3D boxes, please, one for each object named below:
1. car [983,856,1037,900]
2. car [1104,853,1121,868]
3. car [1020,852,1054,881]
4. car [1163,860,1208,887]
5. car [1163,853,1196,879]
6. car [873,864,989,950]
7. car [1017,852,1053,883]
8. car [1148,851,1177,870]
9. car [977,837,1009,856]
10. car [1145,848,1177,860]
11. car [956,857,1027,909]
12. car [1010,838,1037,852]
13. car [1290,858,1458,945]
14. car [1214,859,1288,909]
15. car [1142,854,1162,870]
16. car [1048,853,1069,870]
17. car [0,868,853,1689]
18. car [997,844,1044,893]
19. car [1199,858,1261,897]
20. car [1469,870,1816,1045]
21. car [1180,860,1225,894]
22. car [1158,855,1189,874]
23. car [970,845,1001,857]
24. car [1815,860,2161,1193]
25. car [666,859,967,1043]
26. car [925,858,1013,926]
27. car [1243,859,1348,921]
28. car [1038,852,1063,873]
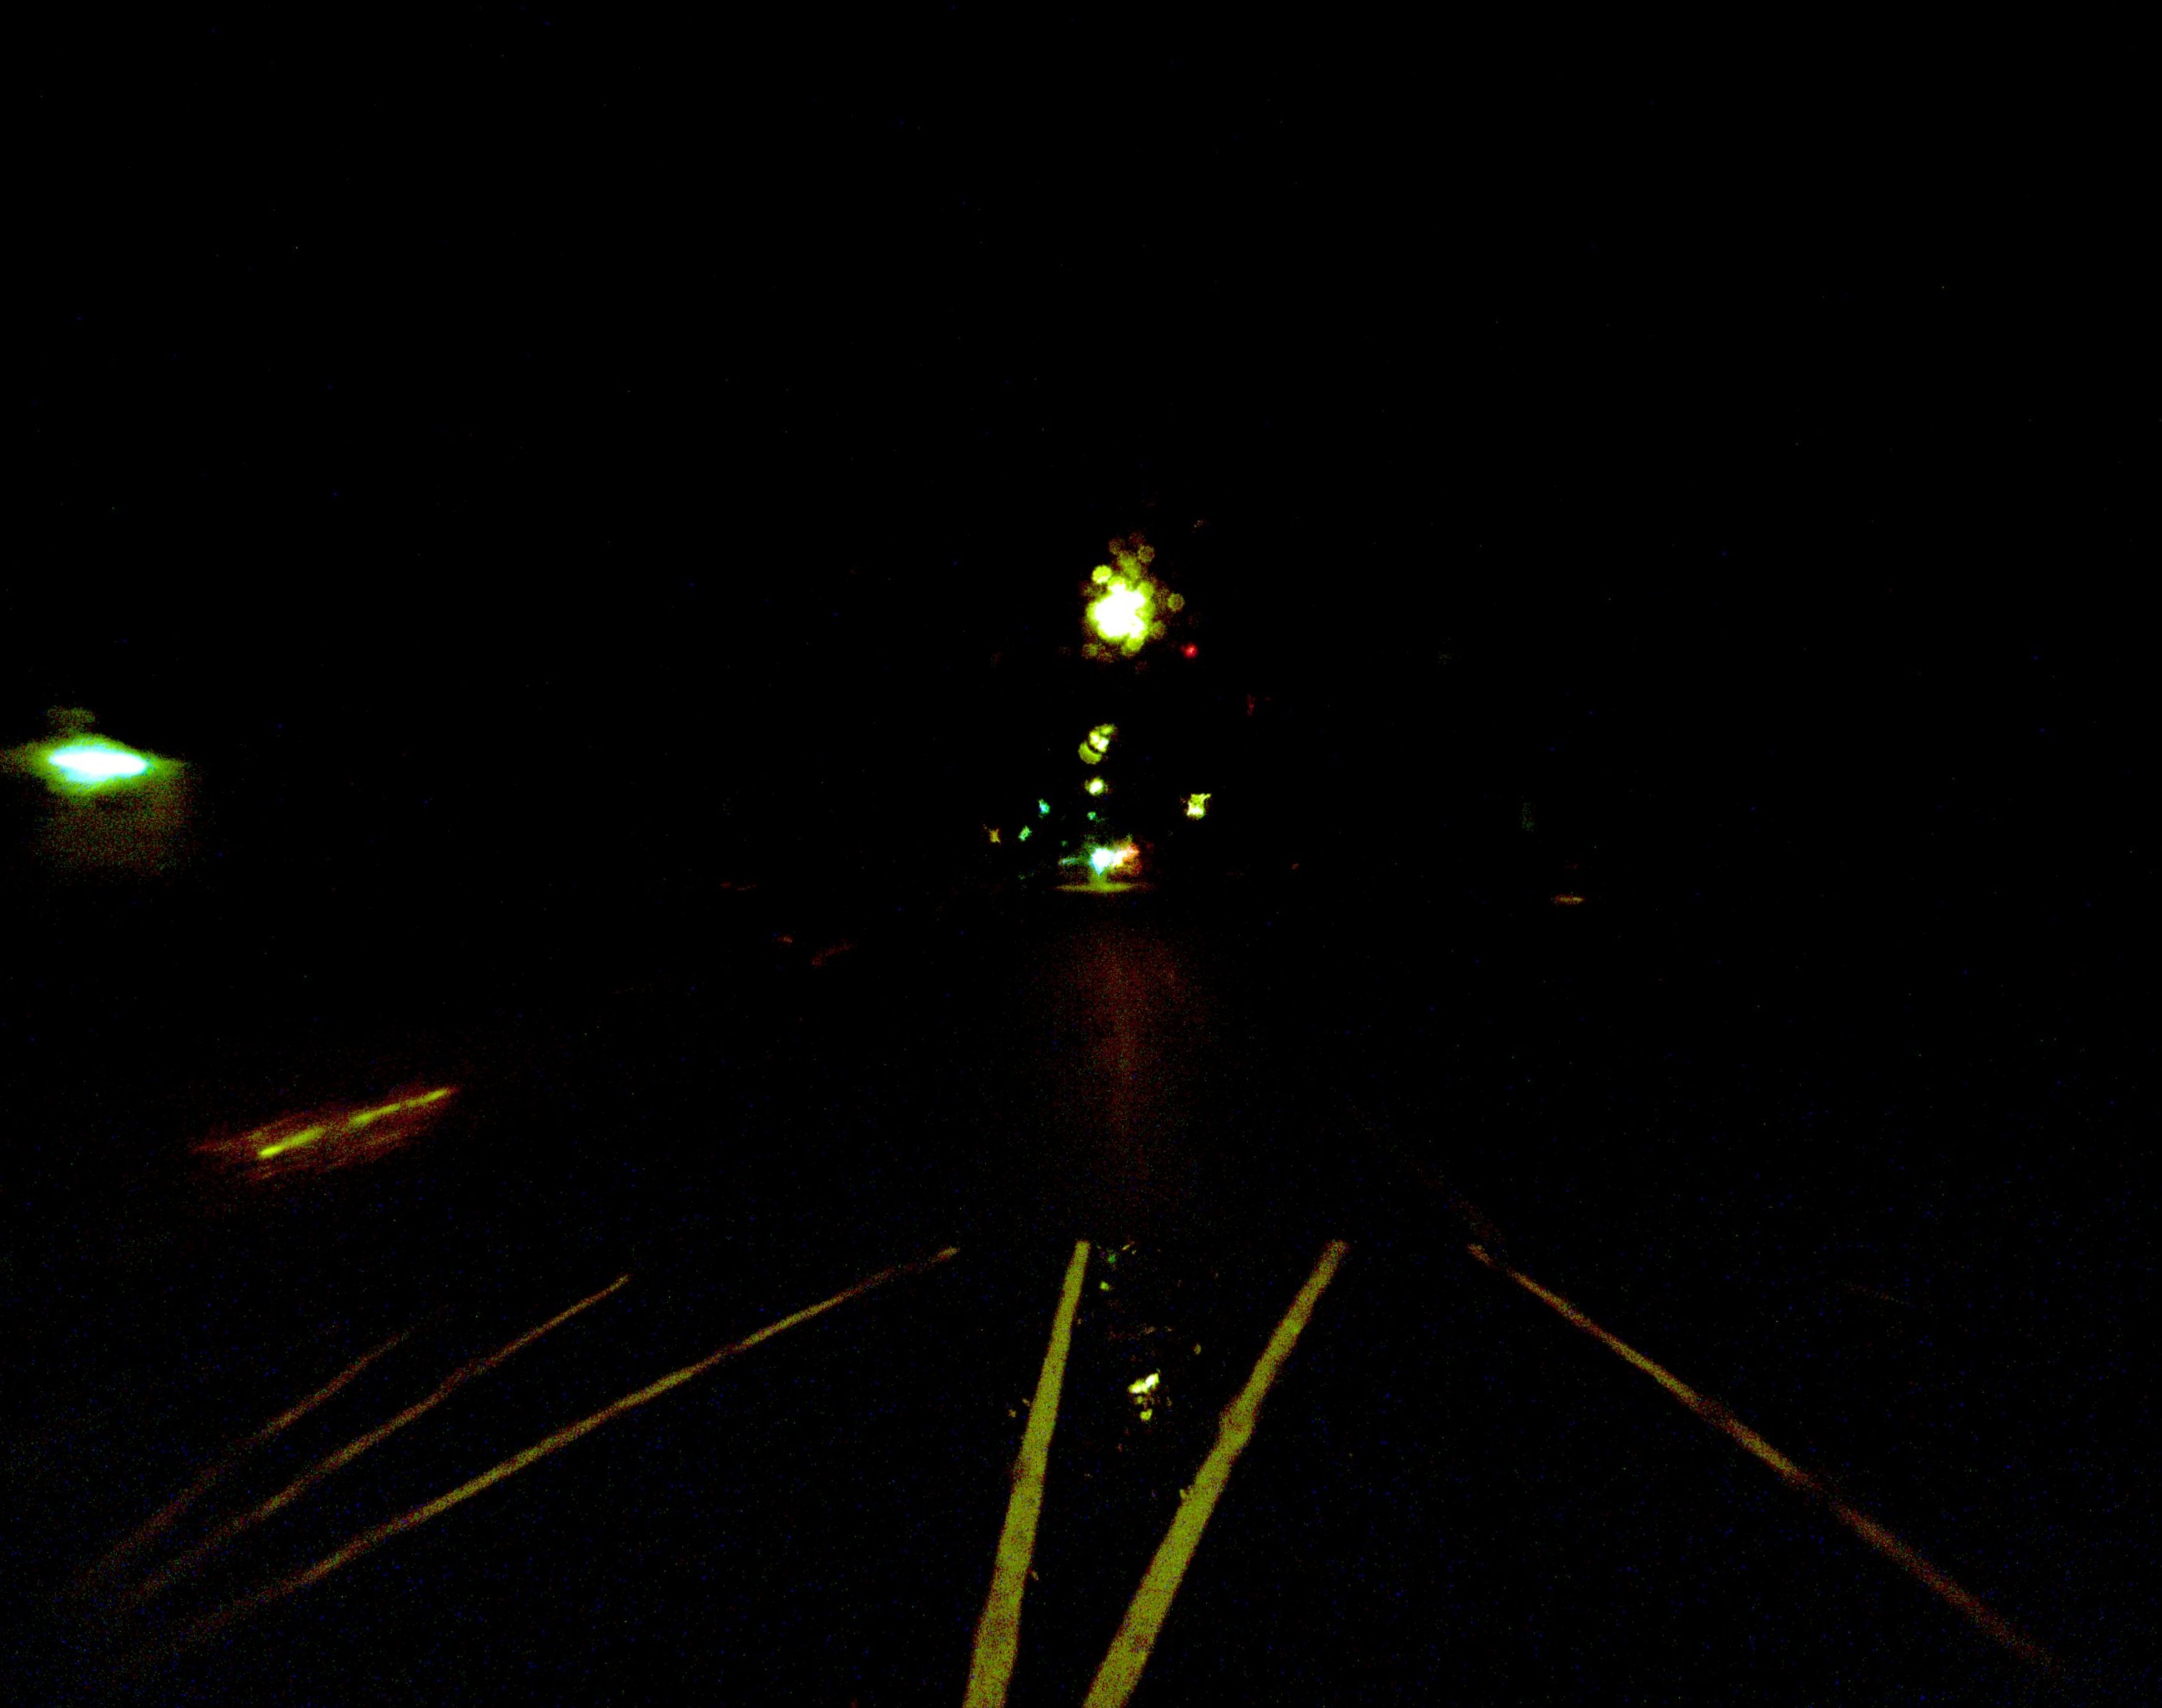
[{"bbox_3d":[-2.633,0.853,28.893,1.800,1.483,4.127,1,0,-2],"label":"car"},{"bbox_3d":[3.454,0.696,83.777,1.710,1.531,4.371,1,0,2],"label":"car"},{"bbox_3d":[-2.611,0.718,45.902,1.873,1.570,4.746,1,0,-2],"label":"car"},{"bbox_3d":[5.975,1.087,43.855,1.624,1.410,4.673,1,0,-4],"label":"car"},{"bbox_3d":[6.433,0.761,49.922,1.710,1.531,4.059,2,0,2],"label":"car"},{"bbox_3d":[-2.626,0.871,13.987,1.460,1.298,3.628,1,0,-1],"label":"car"},{"bbox_3d":[-2.395,0.666,40.434,1.800,1.539,3.950,1,0,-2],"label":"car"},{"bbox_3d":[6.447,0.499,60.406,1.799,1.464,4.396,1,0,1],"label":"car"},{"bbox_3d":[-12.020,-1.011,104.052,4.022,2.603,1.802,1,1,7],"label":"car"},{"bbox_3d":[12.124,-0.016,114.711,4.539,1.696,1.853,1,0,15],"label":"car"},{"bbox_3d":[-2.745,0.841,24.160,1.800,1.439,4.279,1,0,-1],"label":"car"},{"bbox_3d":[-9.237,-1.430,121.814,4.022,2.156,1.802,1,0,7],"label":"car"},{"bbox_3d":[6.396,0.957,17.176,1.751,1.588,4.388,3,0,-4],"label":"car"},{"bbox_3d":[6.082,1.018,27.689,1.670,1.531,4.391,3,0,1],"label":"car"},{"bbox_3d":[6.717,0.741,72.265,1.627,1.464,3.963,1,0,2],"label":"car"},{"bbox_3d":[-2.168,0.706,74.468,1.799,1.539,4.785,1,0,2],"label":"car"},{"bbox_3d":[-2.794,0.903,3.745,1.829,1.539,4.353,1,0,3],"label":"car"},{"bbox_3d":[-2.615,0.587,34.046,1.800,1.938,5.852,1,0,-2],"label":"car"},{"bbox_3d":[6.311,0.955,32.690,1.670,1.531,4.390,1,0,-2],"label":"car"},{"bbox_3d":[5.972,0.976,8.616,1.435,1.452,3.374,3,0,2],"label":"car"},{"bbox_3d":[6.102,1.135,38.702,1.670,1.531,4.391,1,0,2],"label":"car"},{"bbox_3d":[6.654,0.764,55.166,1.843,1.261,4.638,1,0,3],"label":"car"},{"bbox_3d":[-12.105,-0.333,96.621,3.663,1.448,1.666,1,0,1],"label":"car"},{"bbox_3d":[6.058,0.892,3.753,1.478,1.610,3.373,3,0,-1],"label":"car"},{"bbox_3d":[-2.725,0.876,9.216,1.758,1.539,4.978,1,0,2],"label":"car"},{"bbox_3d":[-2.737,0.890,19.464,1.679,1.479,4.279,1,0,-1],"label":"car"},{"bbox_3d":[6.172,0.966,22.390,1.670,1.531,4.390,3,0,-1],"label":"car"},{"bbox_3d":[-2.360,0.615,58.346,1.800,1.464,3.950,1,0,-2],"label":"car"}]
